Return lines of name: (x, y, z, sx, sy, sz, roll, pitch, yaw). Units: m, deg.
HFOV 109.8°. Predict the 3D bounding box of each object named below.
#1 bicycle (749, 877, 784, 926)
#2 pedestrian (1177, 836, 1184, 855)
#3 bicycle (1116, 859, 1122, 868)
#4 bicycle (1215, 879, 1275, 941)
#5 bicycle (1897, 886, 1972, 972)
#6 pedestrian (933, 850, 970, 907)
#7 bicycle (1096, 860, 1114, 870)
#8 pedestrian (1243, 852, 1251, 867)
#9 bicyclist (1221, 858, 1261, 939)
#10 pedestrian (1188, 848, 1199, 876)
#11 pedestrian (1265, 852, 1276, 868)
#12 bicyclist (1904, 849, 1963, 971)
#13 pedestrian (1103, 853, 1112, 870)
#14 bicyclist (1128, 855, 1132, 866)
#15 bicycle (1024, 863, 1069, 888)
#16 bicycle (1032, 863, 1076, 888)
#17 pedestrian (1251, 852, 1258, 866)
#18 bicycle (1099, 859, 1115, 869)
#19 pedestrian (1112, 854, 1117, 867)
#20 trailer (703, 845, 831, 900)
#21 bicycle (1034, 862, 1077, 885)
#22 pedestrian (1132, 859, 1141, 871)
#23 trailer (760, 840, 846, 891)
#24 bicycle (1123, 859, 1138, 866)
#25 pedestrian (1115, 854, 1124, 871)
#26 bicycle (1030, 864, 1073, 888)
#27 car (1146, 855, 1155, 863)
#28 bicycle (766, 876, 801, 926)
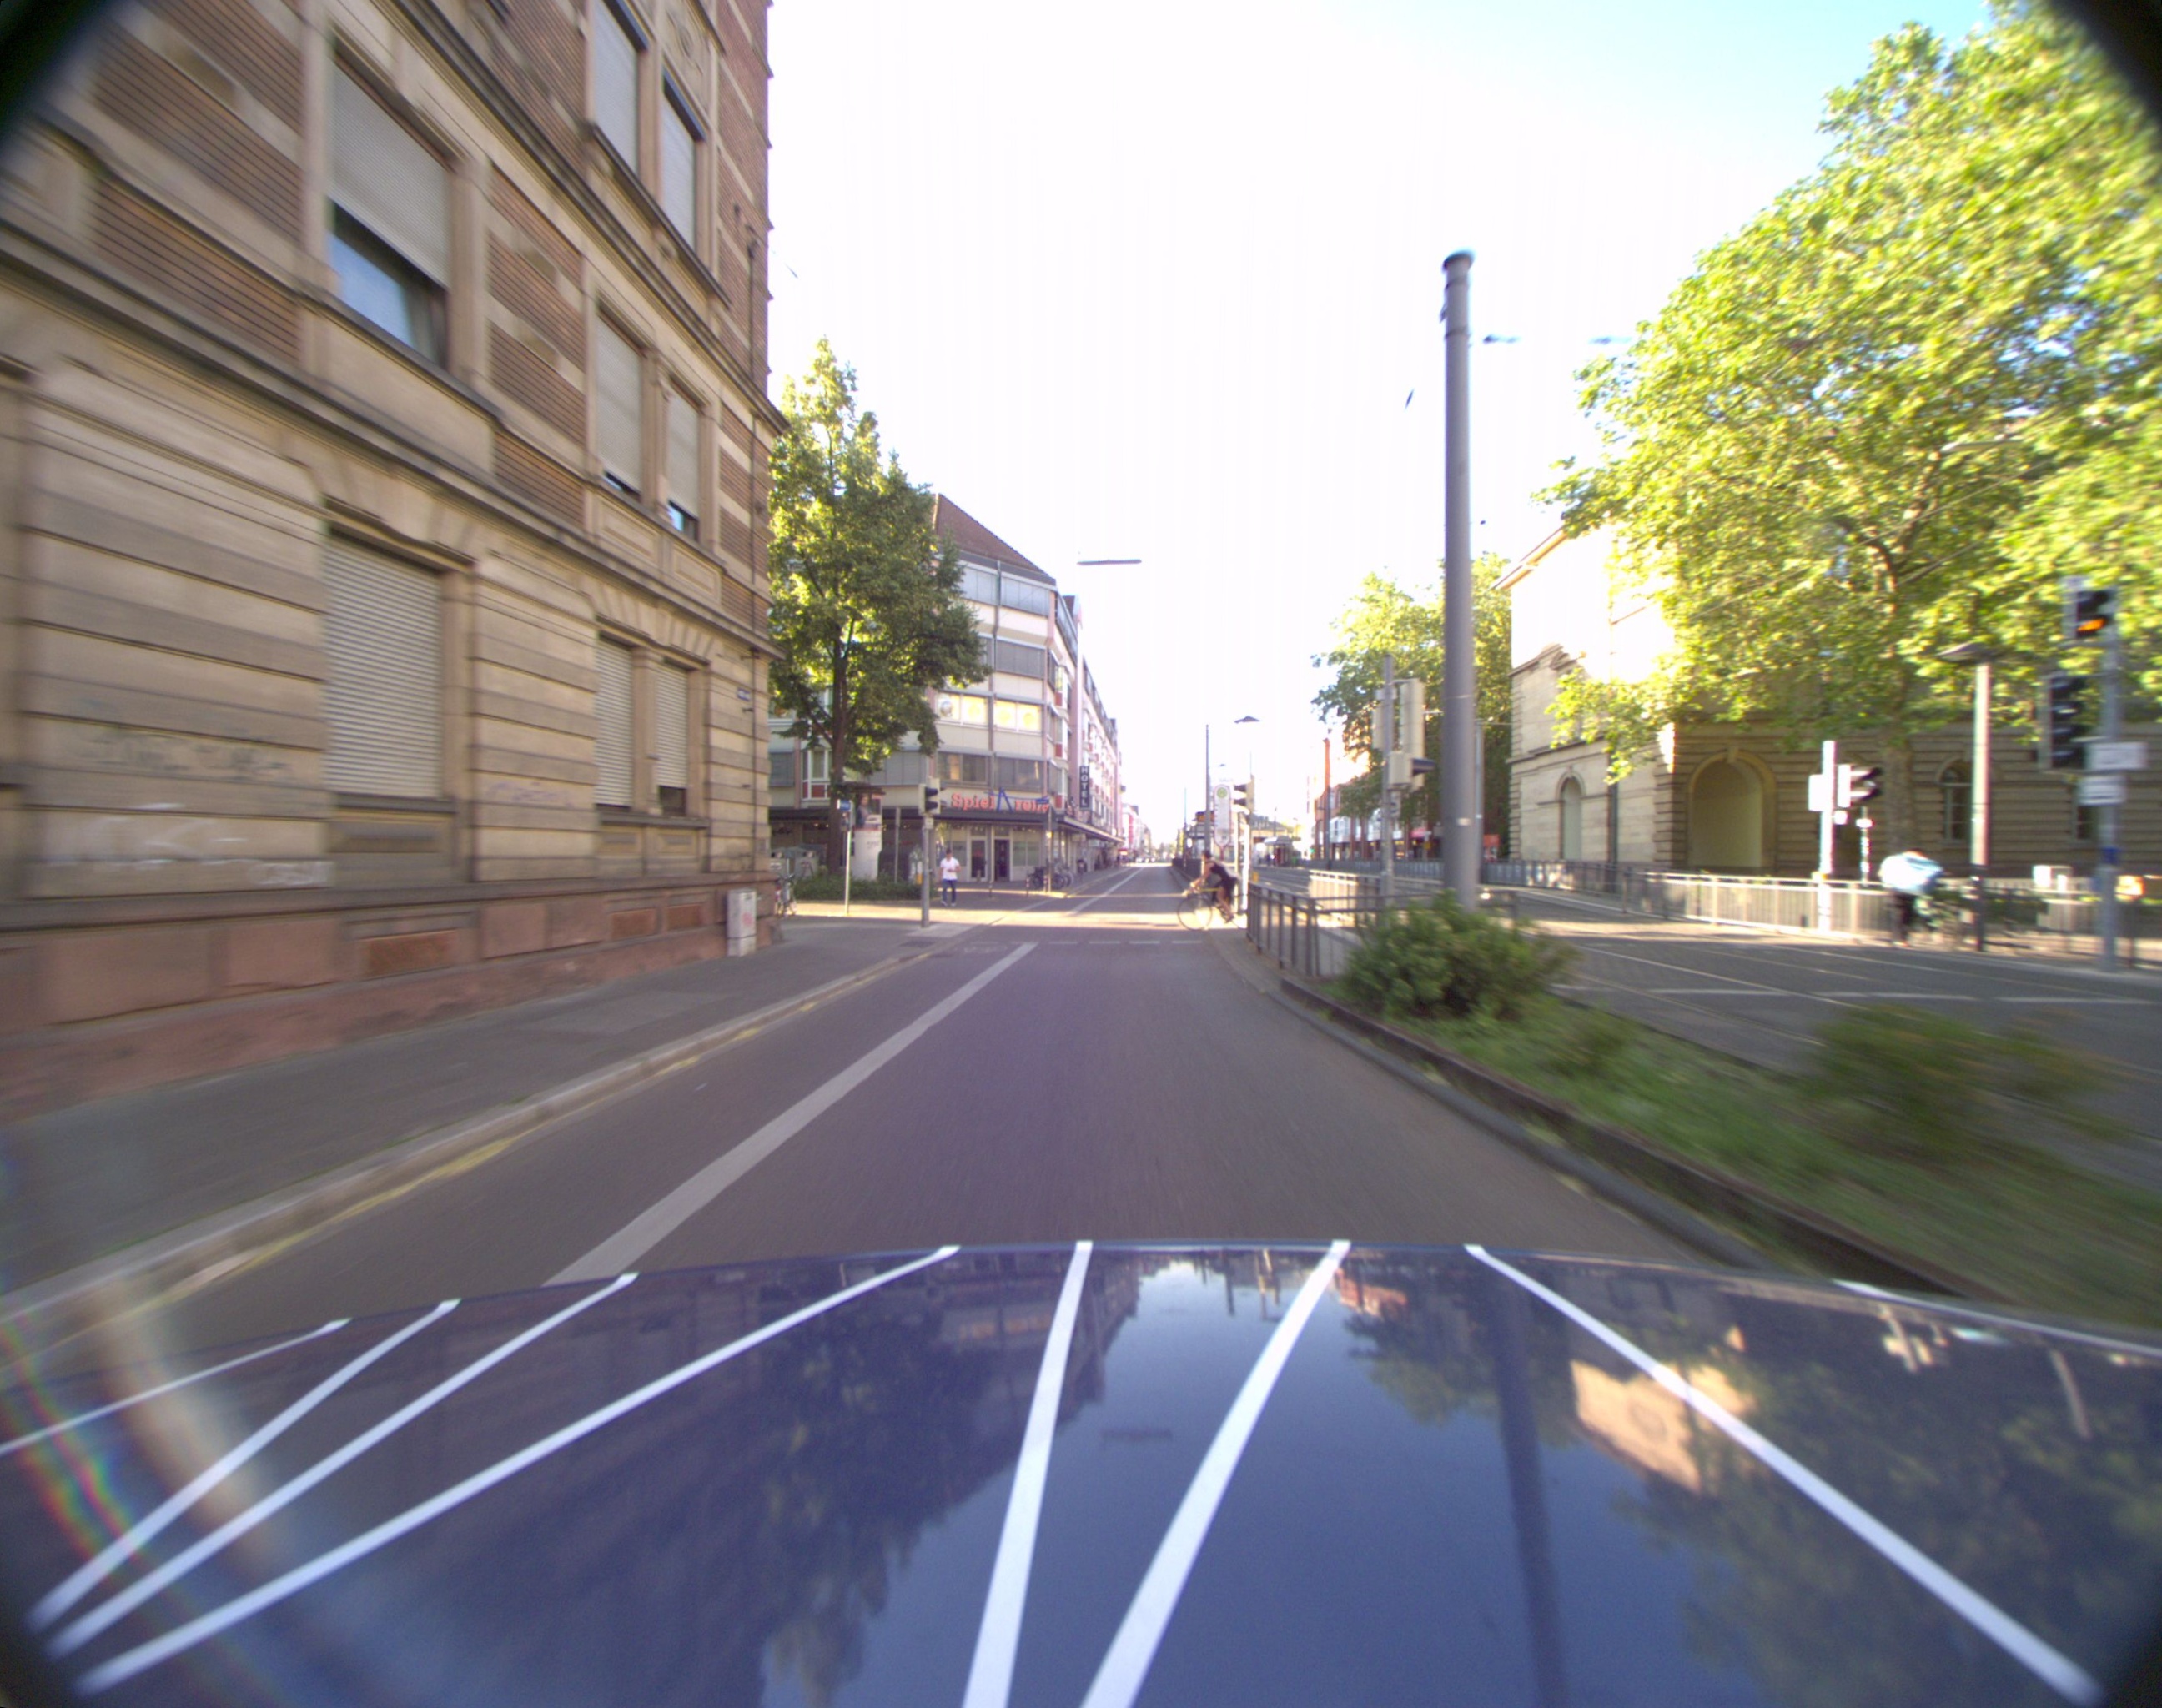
bicycle: (-7.228, 1.068, 17.501, 0.418, 1.018, 1.905, 0, 0, -12)
pedestrian: (9.118, -0.771, 69.815, 0.584, 1.781, 0.606, 0, 1, 4)
bicycle: (4.908, 1.237, 98.679, 0.677, 0.971, 1.843, 5, 1, 3)
bicycle: (3.257, 1.086, 15.225, 0.584, 1.071, 1.898, -2, 0, -6)
bicycle: (12.635, 1.060, 11.237, 1.903, 1.071, 0.583, -3, 0, -38)
pedestrian: (-3.841, 0.740, 22.613, 0.785, 1.655, 1.034, 0, -1, 8)
bicycle: (2.731, 1.211, 86.741, 1.928, 1.054, 0.577, 2, 1, 6)
pedestrian: (21.039, 0.686, 96.213, 0.859, 1.756, 0.812, -2, 0, 12)
bicyclist: (3.190, 0.874, 15.189, 0.534, 1.569, 0.745, 0, 0, -11)
pedestrian: (6.719, 0.469, 45.363, 0.623, 1.702, 0.850, 0, 0, 5)
pedestrian: (19.685, 0.621, 79.000, 0.913, 1.652, 0.968, 0, 1, 5)
bicyclist: (12.360, 0.778, 11.013, 0.747, 1.702, 0.532, 0, 1, -39)
pedestrian: (2.869, 0.854, 83.465, 0.916, 1.856, 0.779, 2, 1, 3)
bicyclist: (7.315, 0.965, 113.881, 0.636, 1.668, 0.769, 0, 1, 2)
bicycle: (-1.453, 0.919, 32.263, 1.838, 1.048, 0.710, 0, 0, 3)
bicycle: (-1.227, 0.978, 34.659, 1.974, 1.098, 0.614, 0, 0, 3)
pedestrian: (21.917, 0.650, 95.924, 0.859, 1.756, 0.812, -2, 0, 14)
bicycle: (3.045, 1.153, 88.077, 1.733, 0.968, 0.506, 3, 1, 11)
pedestrian: (4.169, 0.841, 94.084, 0.406, 1.586, 0.462, 4, 1, 34)
trailer: (-10.756, 0.575, 26.350, 1.968, 1.722, 3.938, 1, 1, 20)
bicycle: (-1.177, 0.913, 35.314, 1.917, 1.041, 0.681, 0, 0, 3)
pedestrian: (7.925, 1.573, 108.624, 0.812, 1.793, 0.859, -3, 0, -22)
trailer: (-10.999, 0.407, 30.264, 1.577, 1.873, 3.189, 2, 1, 17)
bicycle: (7.422, 1.242, 113.891, 2.174, 1.117, 0.769, 0, 1, 2)
pedestrian: (4.175, 0.917, 81.455, 0.799, 1.712, 1.062, 3, 1, 7)
bicycle: (-1.296, 0.960, 33.932, 1.838, 1.048, 0.718, 0, 0, 3)
car: (15.590, 1.199, 170.162, 1.971, 1.664, 4.878, -1, -1, 6)
bicycle: (-6.820, 1.049, 17.455, 0.452, 1.018, 1.905, 0, 0, -12)
